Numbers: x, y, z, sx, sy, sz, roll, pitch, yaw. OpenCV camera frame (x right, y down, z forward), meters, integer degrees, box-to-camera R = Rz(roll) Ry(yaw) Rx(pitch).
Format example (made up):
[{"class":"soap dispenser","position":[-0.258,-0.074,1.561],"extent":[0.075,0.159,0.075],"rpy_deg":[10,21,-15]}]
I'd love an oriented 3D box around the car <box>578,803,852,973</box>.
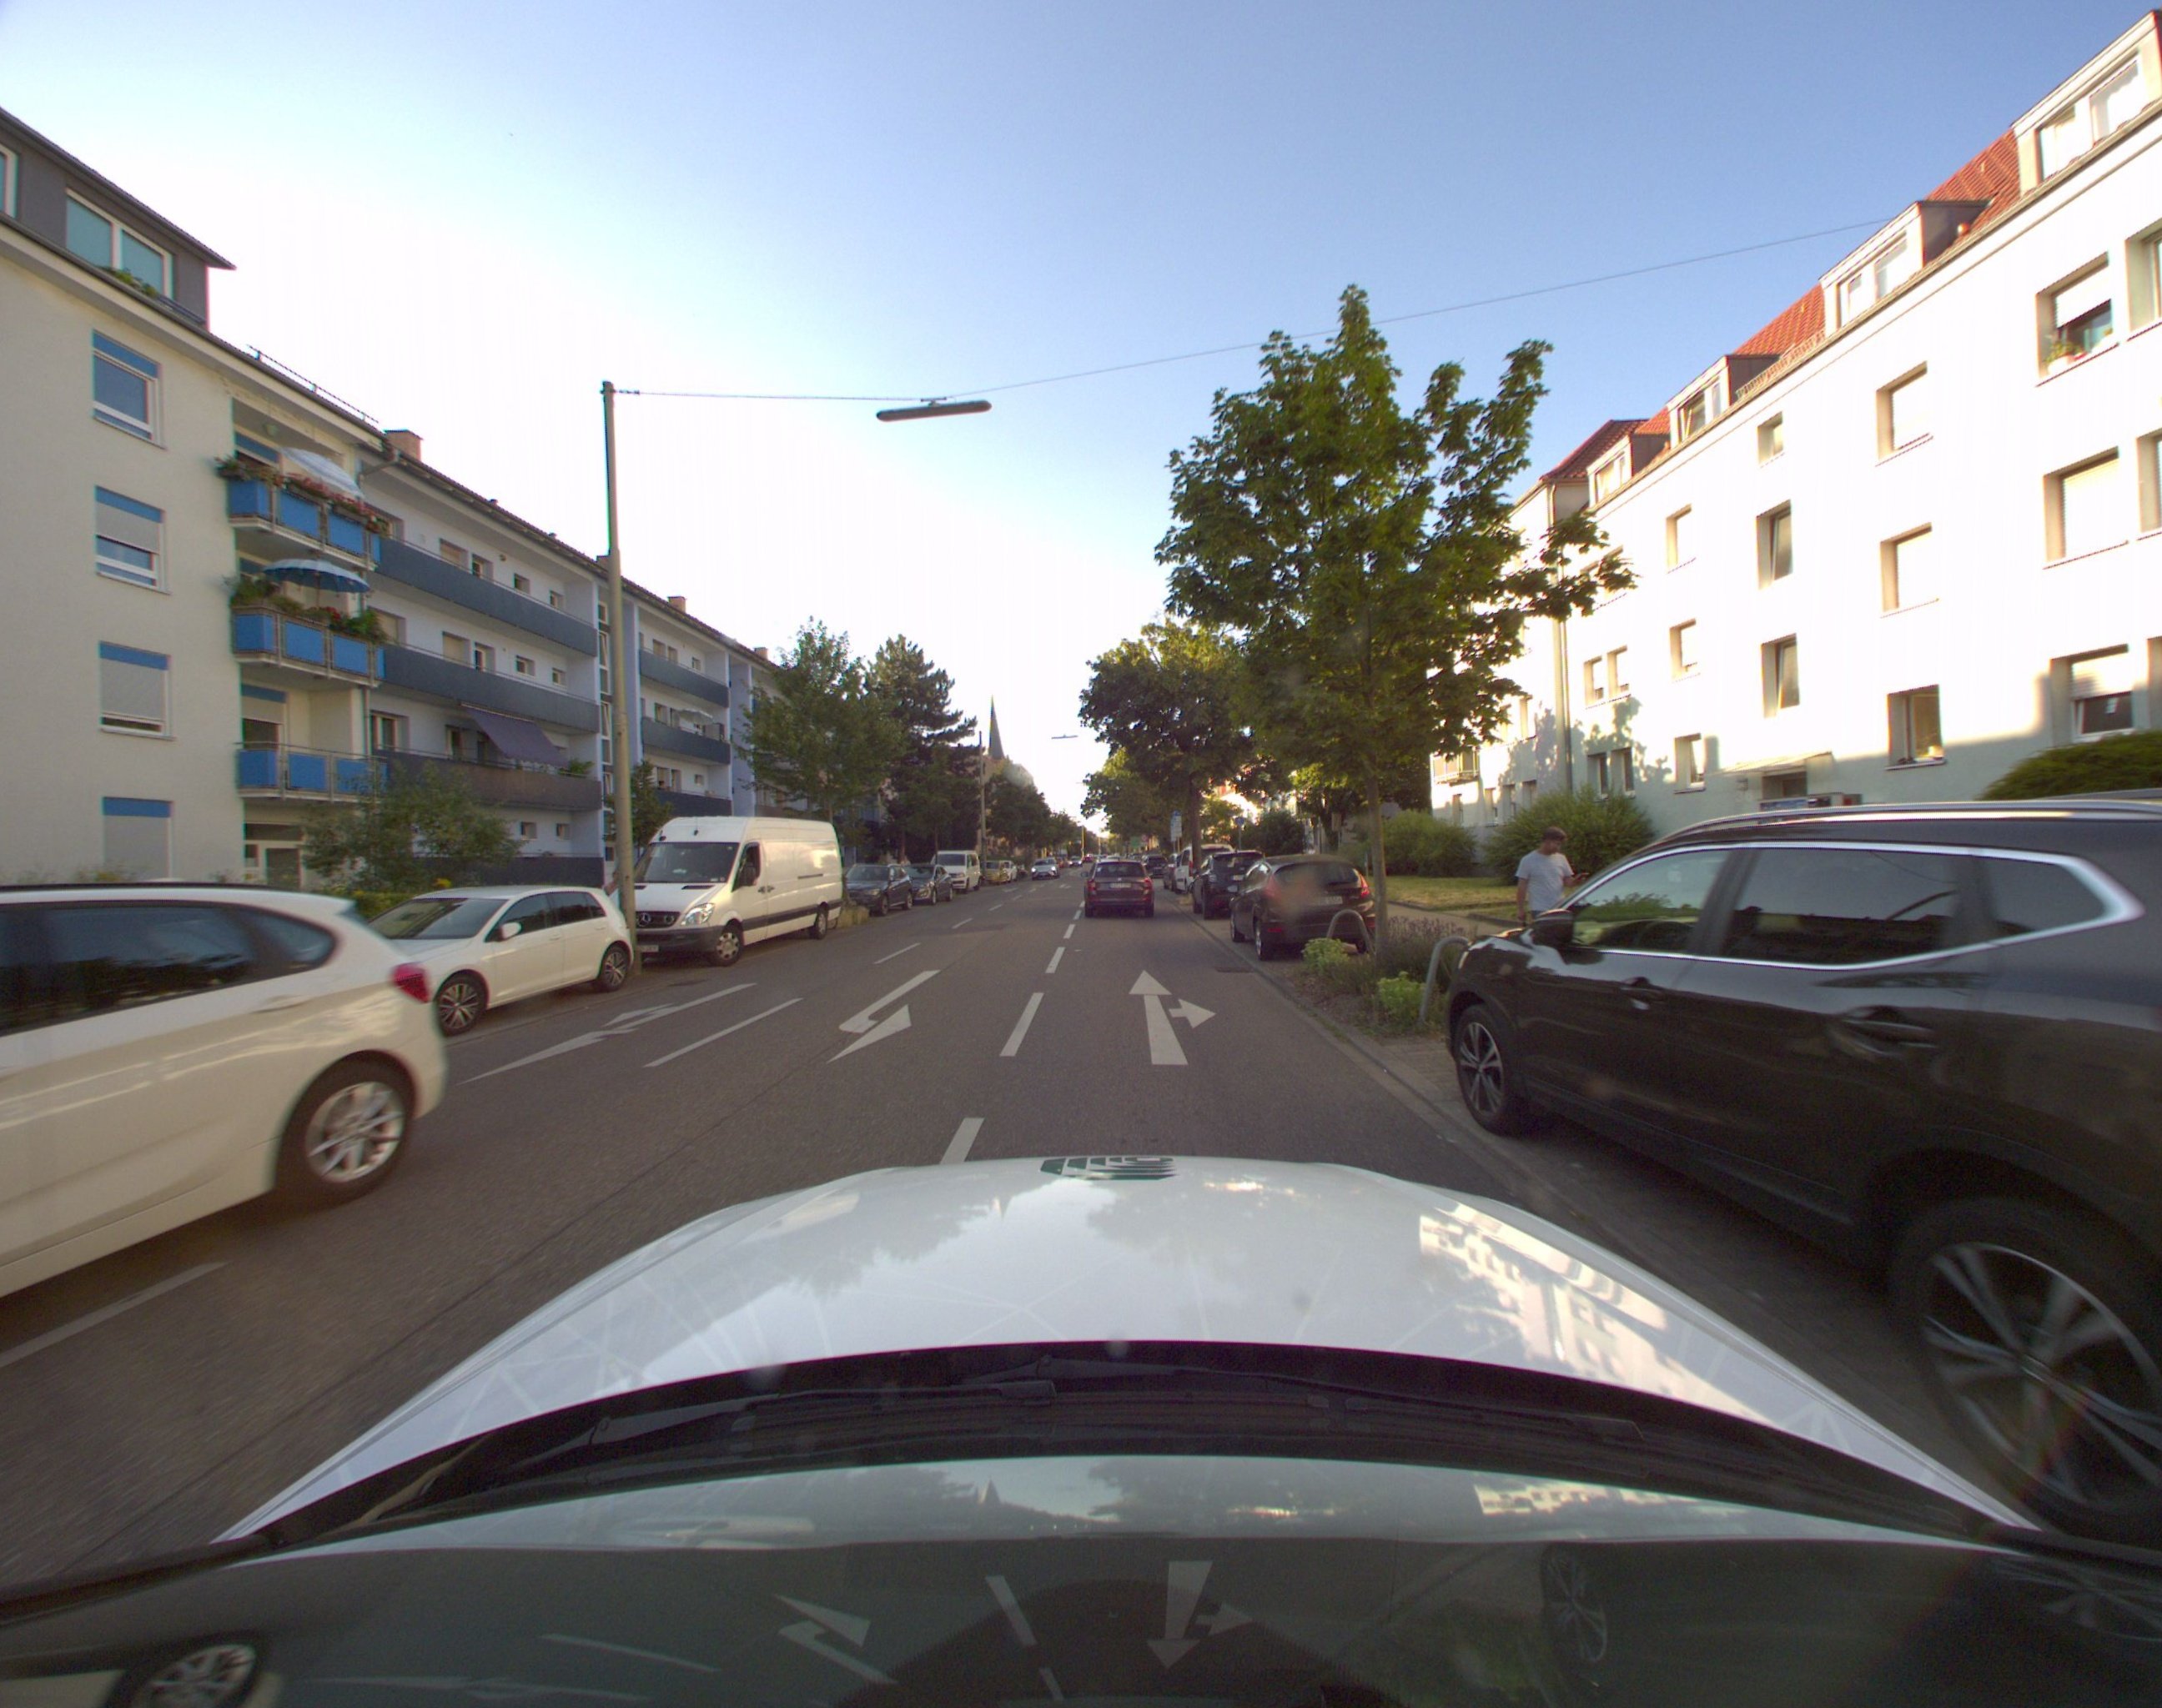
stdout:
[{"class":"car","position":[-6.694,0.525,16.201],"extent":[1.986,2.616,7.108],"rpy_deg":[-1,0,2]}]

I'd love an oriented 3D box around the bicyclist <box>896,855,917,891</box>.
[{"class":"bicyclist","position":[-8.033,0.877,37.469],"extent":[0.600,1.593,0.942],"rpy_deg":[-2,0,9]}]

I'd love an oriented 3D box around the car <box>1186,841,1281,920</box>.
[{"class":"car","position":[3.644,0.593,20.189],"extent":[1.747,1.662,4.256],"rpy_deg":[-3,0,4]}]

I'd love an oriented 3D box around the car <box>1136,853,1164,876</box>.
[{"class":"car","position":[4.904,0.712,58.389],"extent":[1.748,1.557,4.104],"rpy_deg":[0,0,1]}]

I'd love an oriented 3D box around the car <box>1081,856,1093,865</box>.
[{"class":"car","position":[1.224,1.245,166.406],"extent":[1.989,1.750,3.995],"rpy_deg":[-2,0,-3]}]

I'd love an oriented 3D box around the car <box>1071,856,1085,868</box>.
[{"class":"car","position":[-0.402,1.061,114.091],"extent":[1.733,1.479,4.311],"rpy_deg":[-5,0,2]}]

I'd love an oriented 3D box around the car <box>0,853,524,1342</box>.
[{"class":"car","position":[-4.397,0.829,2.781],"extent":[1.872,1.543,4.269],"rpy_deg":[-3,0,2]}]

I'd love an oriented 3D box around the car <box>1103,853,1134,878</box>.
[{"class":"car","position":[2.416,0.759,52.843],"extent":[1.885,1.506,3.790],"rpy_deg":[2,-1,1]}]

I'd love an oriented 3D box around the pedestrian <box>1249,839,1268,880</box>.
[{"class":"pedestrian","position":[8.234,0.257,37.777],"extent":[0.793,1.861,0.954],"rpy_deg":[-3,0,13]}]

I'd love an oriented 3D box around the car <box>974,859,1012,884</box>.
[{"class":"car","position":[-5.328,1.030,49.770],"extent":[1.611,1.480,3.876],"rpy_deg":[0,0,4]}]

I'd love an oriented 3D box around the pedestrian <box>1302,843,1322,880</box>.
[{"class":"pedestrian","position":[11.137,0.347,39.236],"extent":[0.793,1.721,0.746],"rpy_deg":[-3,0,10]}]

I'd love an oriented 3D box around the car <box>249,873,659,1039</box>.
[{"class":"car","position":[-7.118,1.031,9.902],"extent":[1.700,1.492,4.060],"rpy_deg":[1,0,2]}]

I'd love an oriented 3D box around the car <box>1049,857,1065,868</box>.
[{"class":"car","position":[-3.201,1.107,111.465],"extent":[1.773,1.480,3.975],"rpy_deg":[0,0,4]}]

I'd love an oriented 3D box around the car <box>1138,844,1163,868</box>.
[{"class":"car","position":[5.838,0.142,68.619],"extent":[1.908,1.860,5.638],"rpy_deg":[-2,0,4]}]

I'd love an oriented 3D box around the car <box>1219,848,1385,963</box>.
[{"class":"car","position":[3.317,0.693,12.957],"extent":[1.607,1.466,3.960],"rpy_deg":[-3,0,2]}]

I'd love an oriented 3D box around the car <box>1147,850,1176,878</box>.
[{"class":"car","position":[5.109,0.600,52.139],"extent":[1.746,1.686,4.256],"rpy_deg":[0,0,4]}]

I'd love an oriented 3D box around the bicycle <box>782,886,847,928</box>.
[{"class":"bicycle","position":[-6.597,1.315,20.164],"extent":[1.463,1.014,0.441],"rpy_deg":[-1,0,9]}]

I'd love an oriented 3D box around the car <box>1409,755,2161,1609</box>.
[{"class":"car","position":[2.905,0.588,3.103],"extent":[1.712,1.601,4.097],"rpy_deg":[-2,0,2]}]

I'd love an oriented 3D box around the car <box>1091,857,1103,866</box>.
[{"class":"car","position":[2.598,1.228,132.340],"extent":[1.776,1.480,3.969],"rpy_deg":[0,0,-1]}]

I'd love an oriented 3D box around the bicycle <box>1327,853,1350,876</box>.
[{"class":"bicycle","position":[11.262,0.446,35.651],"extent":[0.473,0.944,1.681],"rpy_deg":[-3,0,1]}]

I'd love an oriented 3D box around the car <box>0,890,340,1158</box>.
[{"class":"car","position":[-7.139,1.048,4.992],"extent":[1.606,1.473,3.814],"rpy_deg":[0,0,2]}]

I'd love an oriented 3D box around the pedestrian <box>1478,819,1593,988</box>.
[{"class":"pedestrian","position":[4.796,0.509,8.648],"extent":[0.784,1.700,0.809],"rpy_deg":[-1,-1,6]}]

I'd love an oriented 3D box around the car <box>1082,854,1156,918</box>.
[{"class":"car","position":[1.032,0.764,21.327],"extent":[1.746,1.492,4.004],"rpy_deg":[0,0,4]}]

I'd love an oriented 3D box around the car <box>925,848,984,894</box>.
[{"class":"car","position":[-5.998,0.757,39.353],"extent":[1.862,2.031,5.302],"rpy_deg":[-1,0,1]}]

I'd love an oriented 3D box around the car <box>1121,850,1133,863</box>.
[{"class":"car","position":[6.568,0.336,116.960],"extent":[1.747,1.806,4.002],"rpy_deg":[0,0,2]}]

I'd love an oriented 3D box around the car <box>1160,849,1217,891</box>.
[{"class":"car","position":[4.422,0.621,34.122],"extent":[1.749,1.556,4.251],"rpy_deg":[-3,0,0]}]

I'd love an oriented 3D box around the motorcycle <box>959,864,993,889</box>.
[{"class":"motorcycle","position":[-5.688,1.210,44.291],"extent":[0.653,1.204,2.345],"rpy_deg":[-3,0,23]}]

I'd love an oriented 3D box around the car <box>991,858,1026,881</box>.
[{"class":"car","position":[-4.843,1.033,54.912],"extent":[1.773,1.494,3.975],"rpy_deg":[0,0,4]}]

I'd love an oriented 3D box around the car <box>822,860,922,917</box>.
[{"class":"car","position":[-6.433,1.022,25.586],"extent":[1.665,1.543,4.477],"rpy_deg":[-2,0,4]}]

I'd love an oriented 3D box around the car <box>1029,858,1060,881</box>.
[{"class":"car","position":[-2.598,1.066,58.714],"extent":[1.774,1.494,3.973],"rpy_deg":[-4,0,2]}]

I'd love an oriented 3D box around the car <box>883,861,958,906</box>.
[{"class":"car","position":[-5.963,1.047,30.683],"extent":[1.685,1.483,4.148],"rpy_deg":[-2,0,4]}]

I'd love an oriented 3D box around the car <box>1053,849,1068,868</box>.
[{"class":"car","position":[-3.093,0.728,124.040],"extent":[1.984,2.781,5.505],"rpy_deg":[0,0,1]}]

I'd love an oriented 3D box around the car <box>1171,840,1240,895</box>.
[{"class":"car","position":[4.405,0.444,29.362],"extent":[1.794,1.808,4.423],"rpy_deg":[0,0,0]}]

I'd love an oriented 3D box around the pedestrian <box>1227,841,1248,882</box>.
[{"class":"pedestrian","position":[7.381,0.347,38.464],"extent":[0.746,1.861,1.068],"rpy_deg":[-3,0,1]}]

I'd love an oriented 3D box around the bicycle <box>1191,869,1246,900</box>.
[{"class":"bicycle","position":[4.143,0.918,24.598],"extent":[1.548,0.869,0.393],"rpy_deg":[-2,0,-2]}]

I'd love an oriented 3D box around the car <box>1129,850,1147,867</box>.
[{"class":"car","position":[5.684,0.441,81.308],"extent":[1.746,1.715,4.004],"rpy_deg":[0,0,4]}]

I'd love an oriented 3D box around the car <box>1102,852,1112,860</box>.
[{"class":"car","position":[5.638,0.410,176.384],"extent":[1.641,1.599,3.646],"rpy_deg":[-2,0,-3]}]
